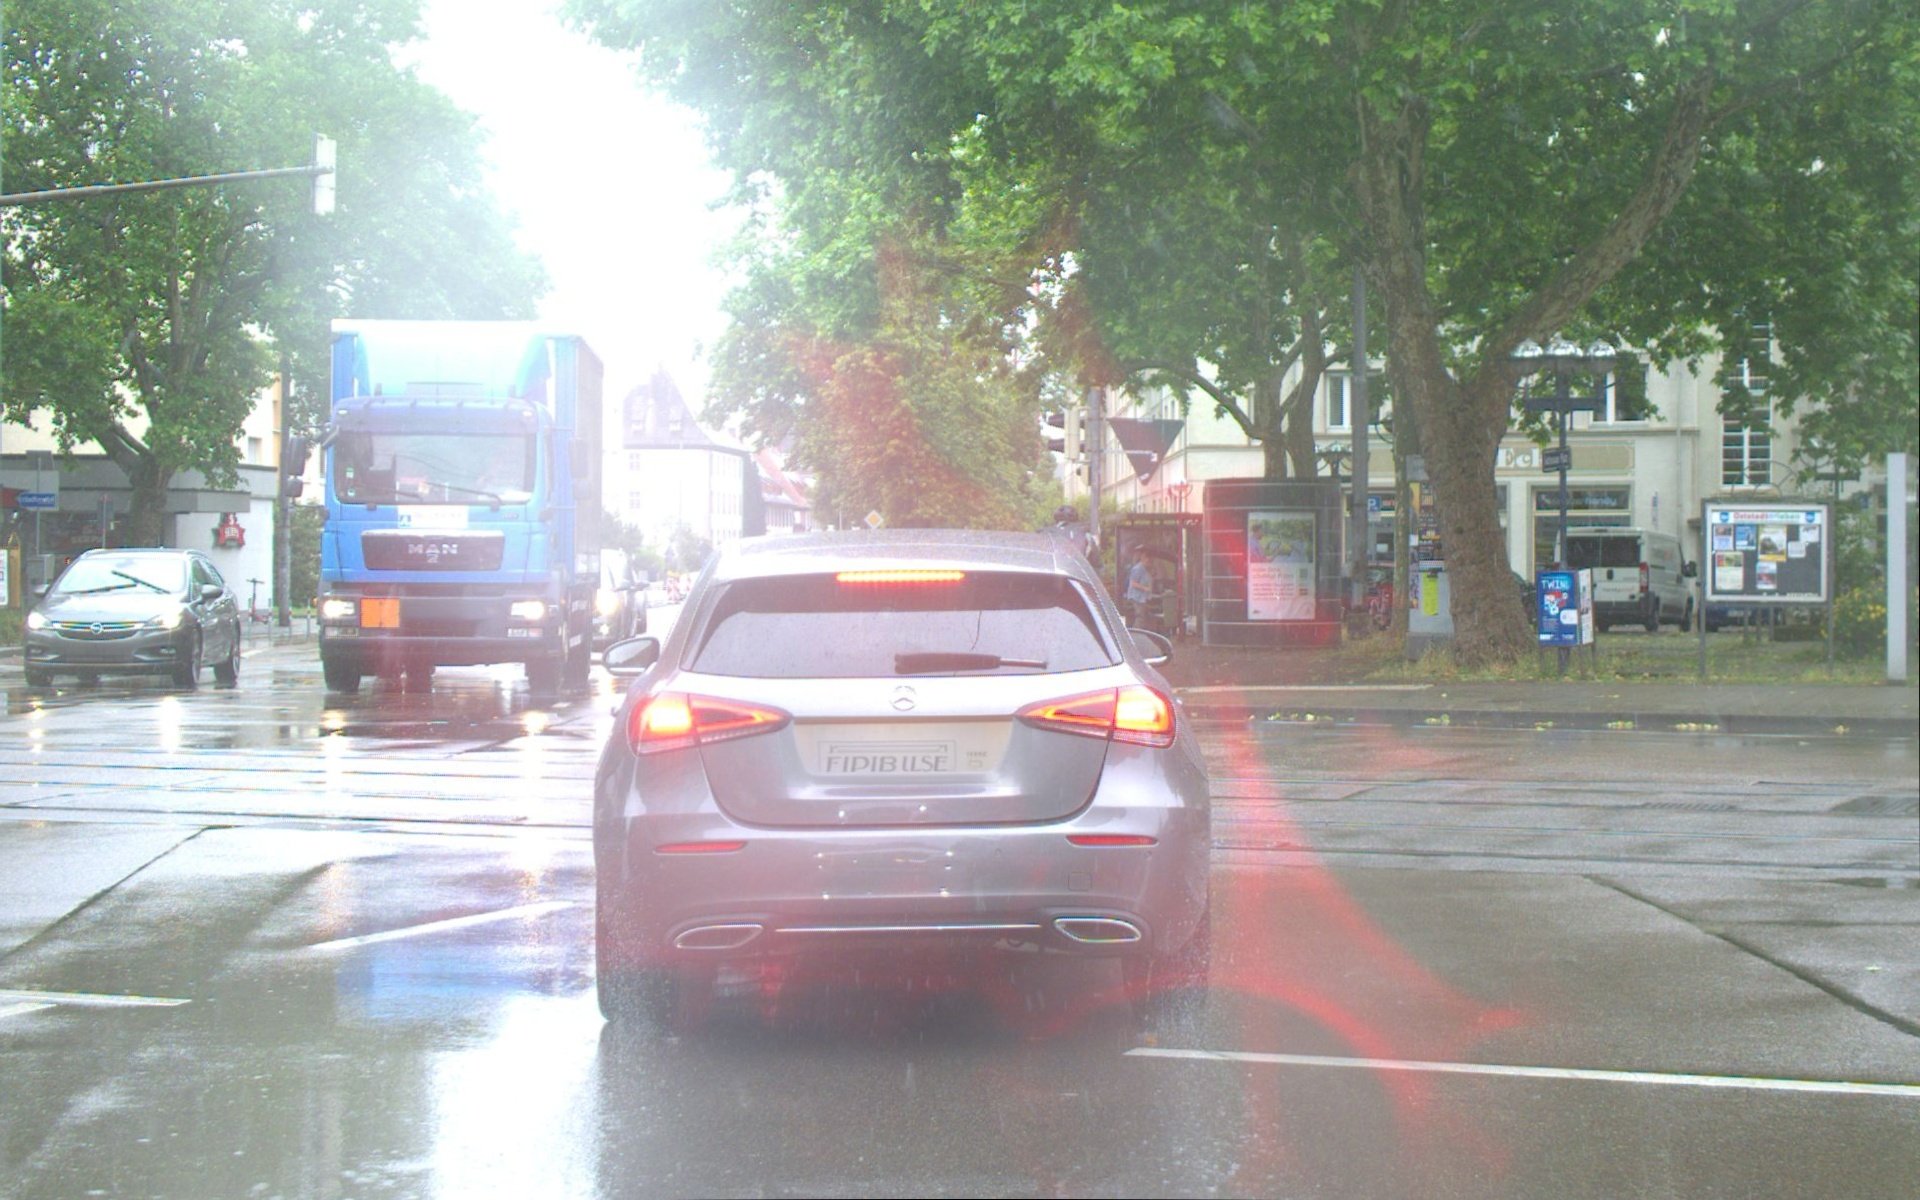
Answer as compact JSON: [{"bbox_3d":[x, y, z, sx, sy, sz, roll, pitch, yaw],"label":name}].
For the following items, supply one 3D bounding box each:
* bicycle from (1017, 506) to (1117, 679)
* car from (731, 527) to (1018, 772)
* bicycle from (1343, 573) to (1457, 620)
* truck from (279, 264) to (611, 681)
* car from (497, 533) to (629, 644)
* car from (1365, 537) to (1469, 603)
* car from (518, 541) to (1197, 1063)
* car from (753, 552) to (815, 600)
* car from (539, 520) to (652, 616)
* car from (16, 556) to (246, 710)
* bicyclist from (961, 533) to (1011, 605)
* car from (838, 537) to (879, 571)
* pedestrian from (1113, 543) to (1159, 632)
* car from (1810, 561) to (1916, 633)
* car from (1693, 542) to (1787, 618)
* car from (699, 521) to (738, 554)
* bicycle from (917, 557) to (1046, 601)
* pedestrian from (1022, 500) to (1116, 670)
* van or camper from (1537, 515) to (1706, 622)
[{"bbox_3d":[0.914,-0.079,28.777,0.749,1.372,2.707,-1,1,3],"label":"bicycle"},{"bbox_3d":[-0.607,0.248,21.436,1.607,1.368,4.001,-1,1,-4],"label":"car"},{"bbox_3d":[9.050,-0.079,70.749,2.249,0.965,0.584,0,1,20],"label":"bicycle"},{"bbox_3d":[-5.514,-1.316,38.496,2.845,4.011,10.318,-1,1,-4],"label":"truck"},{"bbox_3d":[-5.906,-0.188,51.495,1.742,1.598,4.001,0,1,-3],"label":"car"},{"bbox_3d":[10.058,-0.641,75.495,1.584,1.332,3.258,0,-2,21],"label":"car"},{"bbox_3d":[-0.382,0.519,10.970,1.791,1.368,3.507,1,1,-4],"label":"car"},{"bbox_3d":[-5.992,-0.816,116.723,1.993,1.568,4.001,0,0,-5],"label":"car"},{"bbox_3d":[-6.858,-0.629,64.927,1.748,1.759,4.000,0,1,-1],"label":"car"},{"bbox_3d":[-8.929,0.309,37.335,1.726,1.541,4.341,-1,1,-4],"label":"car"},{"bbox_3d":[0.676,-0.812,89.895,0.938,1.862,1.143,0,-1,-22],"label":"bicyclist"},{"bbox_3d":[-5.445,-2.449,184.429,2.046,1.830,4.792,0,0,0],"label":"car"},{"bbox_3d":[3.304,-0.241,64.584,0.716,1.663,0.665,0,0,-13],"label":"pedestrian"},{"bbox_3d":[19.217,-0.049,73.113,1.681,1.427,3.731,0,-2,23],"label":"car"},{"bbox_3d":[16.613,-0.420,73.168,1.681,1.570,3.733,0,0,17],"label":"car"},{"bbox_3d":[-13.450,-3.471,191.579,1.889,1.830,4.000,0,0,0],"label":"car"},{"bbox_3d":[0.556,-0.547,89.886,3.205,1.108,1.054,0,-1,-22],"label":"bicycle"},{"bbox_3d":[0.923,-0.131,28.895,0.744,1.393,1.047,-1,1,3],"label":"pedestrian"},{"bbox_3d":[14.354,-0.676,74.337,2.399,2.224,5.423,0,0,24],"label":"van or camper"}]
